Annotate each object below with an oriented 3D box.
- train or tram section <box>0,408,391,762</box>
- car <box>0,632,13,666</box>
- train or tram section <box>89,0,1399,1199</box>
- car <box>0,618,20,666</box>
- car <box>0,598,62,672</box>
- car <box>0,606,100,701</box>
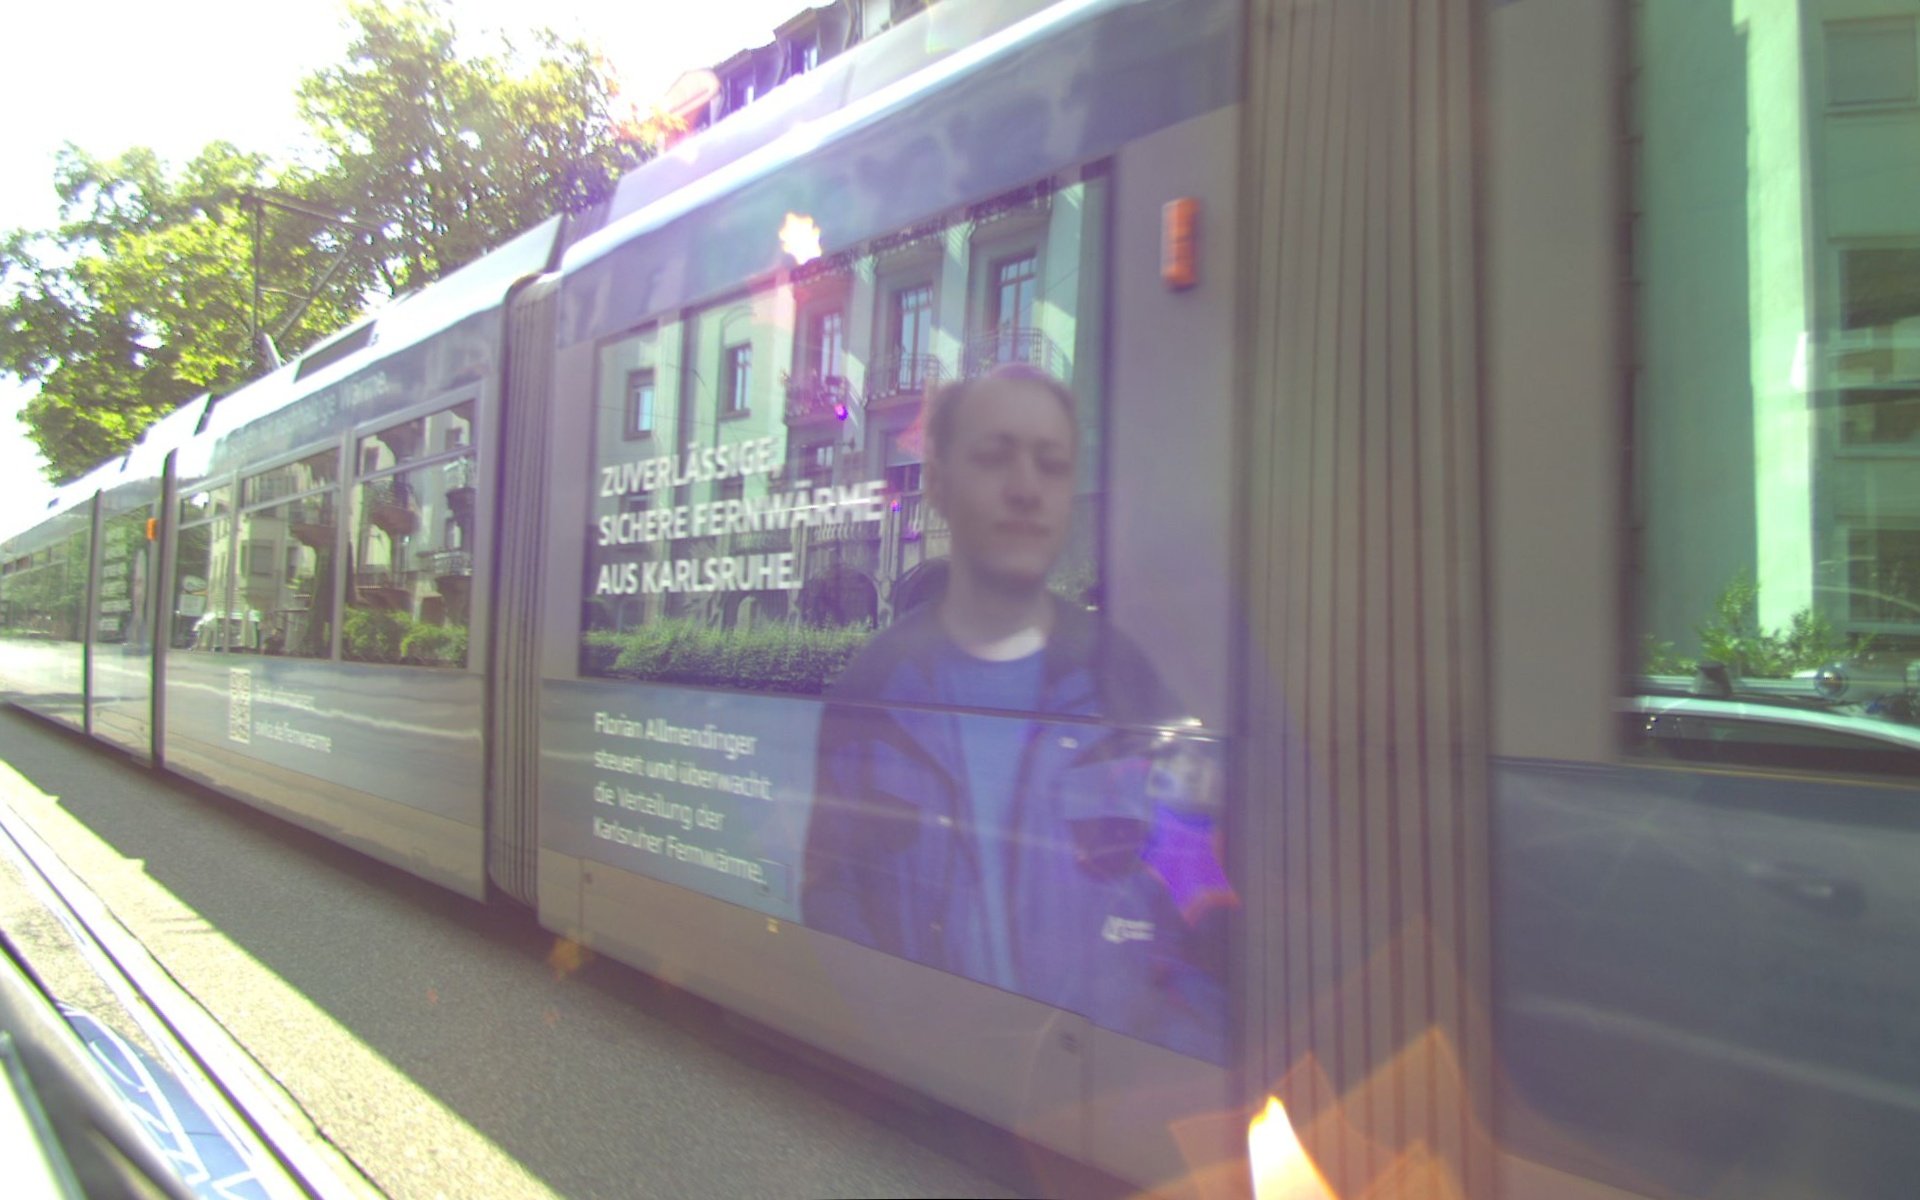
[{"bbox_3d":[-12.191,0.016,14.988,12.310,3.463,2.624,-2,-3,42],"label":"train or tram section"},{"bbox_3d":[-50.226,2.473,52.058,4.480,1.491,1.675,3,-2,41],"label":"car"},{"bbox_3d":[-3.296,-0.234,7.067,11.469,3.415,2.624,-1,-3,42],"label":"train or tram section"},{"bbox_3d":[-41.991,1.798,43.417,5.179,1.978,1.965,-2,-4,43],"label":"car"},{"bbox_3d":[-34.719,1.303,36.876,6.361,2.527,2.291,-2,-2,42],"label":"car"},{"bbox_3d":[-27.416,1.509,29.700,6.358,2.526,2.292,-1,-2,40],"label":"car"}]
